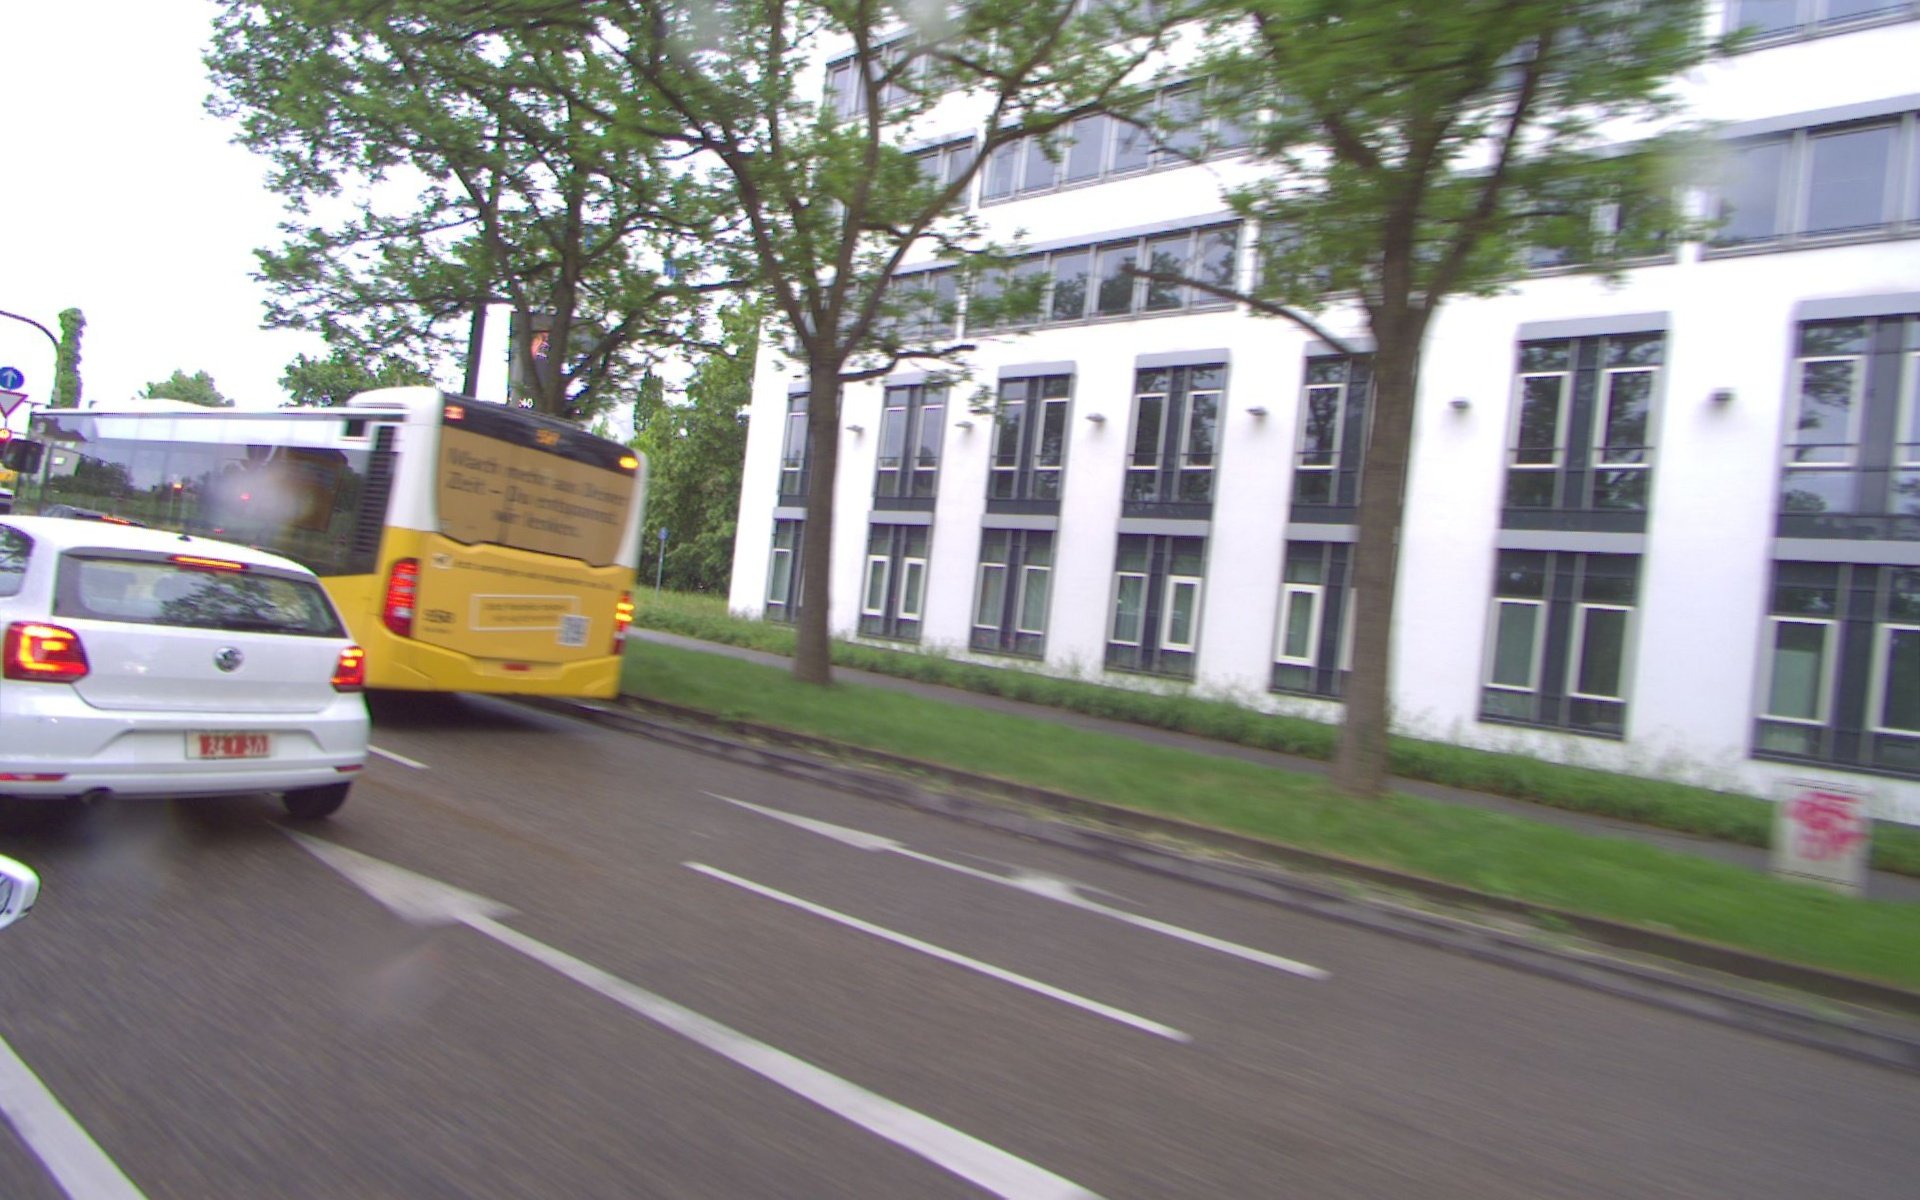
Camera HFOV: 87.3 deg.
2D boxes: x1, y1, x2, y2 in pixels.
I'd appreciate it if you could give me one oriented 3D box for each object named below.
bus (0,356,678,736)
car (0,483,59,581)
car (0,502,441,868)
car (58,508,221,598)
[{"bbox_3d":[-8.879,-0.929,12.929,11.950,3.187,2.732,7,-2,34],"label":"bus"},{"bbox_3d":[-19.435,-1.538,19.360,4.490,1.694,1.868,8,-1,33],"label":"car"},{"bbox_3d":[-4.931,0.276,5.687,3.749,1.447,1.745,6,-3,32],"label":"car"},{"bbox_3d":[-16.919,-0.928,20.956,1.850,1.516,4.122,6,-1,-30],"label":"car"}]
